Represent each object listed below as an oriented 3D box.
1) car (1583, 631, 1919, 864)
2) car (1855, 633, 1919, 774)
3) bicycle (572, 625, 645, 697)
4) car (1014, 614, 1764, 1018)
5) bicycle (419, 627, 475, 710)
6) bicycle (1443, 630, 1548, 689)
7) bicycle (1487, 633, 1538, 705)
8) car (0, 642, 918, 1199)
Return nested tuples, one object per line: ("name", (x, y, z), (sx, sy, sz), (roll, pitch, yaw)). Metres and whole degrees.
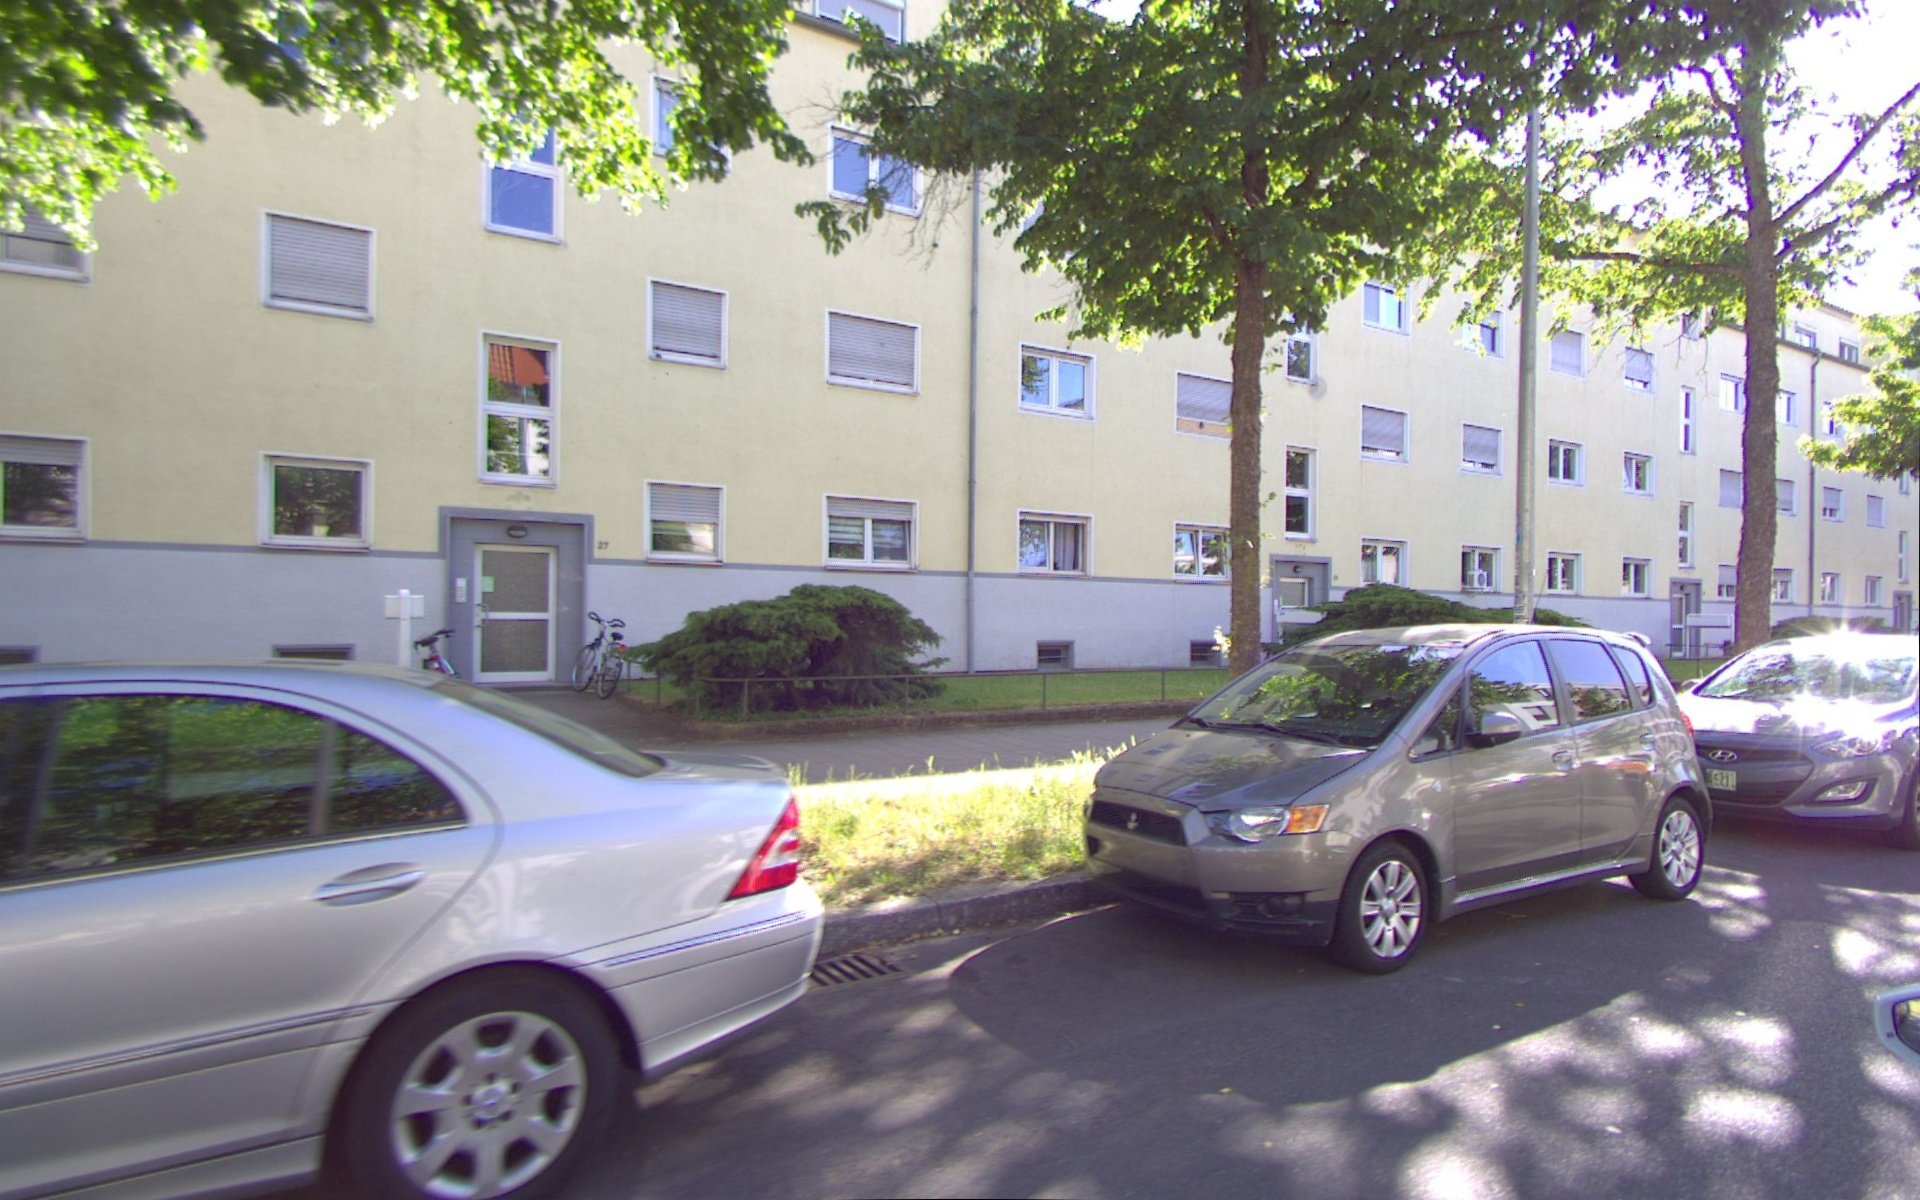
("car", (7.376, 0.998, 8.259), (4.630, 1.463, 1.784), (1, -2, -29))
("car", (11.379, 1.072, 10.907), (3.685, 1.414, 1.513), (1, -1, -32))
("bicycle", (-4.897, 0.817, 13.952), (0.477, 0.943, 1.620), (1, -1, -37))
("car", (2.507, 0.893, 5.601), (4.217, 1.535, 1.613), (1, -3, -30))
("bicycle", (-6.339, 0.810, 12.383), (0.476, 0.943, 1.623), (1, -1, -32))
("bicycle", (10.516, 1.149, 19.785), (0.481, 1.095, 1.829), (1, -1, -32))
("bicycle", (9.205, 1.111, 16.707), (0.478, 1.095, 1.839), (3, 1, 36))
("car", (-2.543, 0.823, 2.613), (4.619, 1.387, 1.737), (1, -2, -30))
